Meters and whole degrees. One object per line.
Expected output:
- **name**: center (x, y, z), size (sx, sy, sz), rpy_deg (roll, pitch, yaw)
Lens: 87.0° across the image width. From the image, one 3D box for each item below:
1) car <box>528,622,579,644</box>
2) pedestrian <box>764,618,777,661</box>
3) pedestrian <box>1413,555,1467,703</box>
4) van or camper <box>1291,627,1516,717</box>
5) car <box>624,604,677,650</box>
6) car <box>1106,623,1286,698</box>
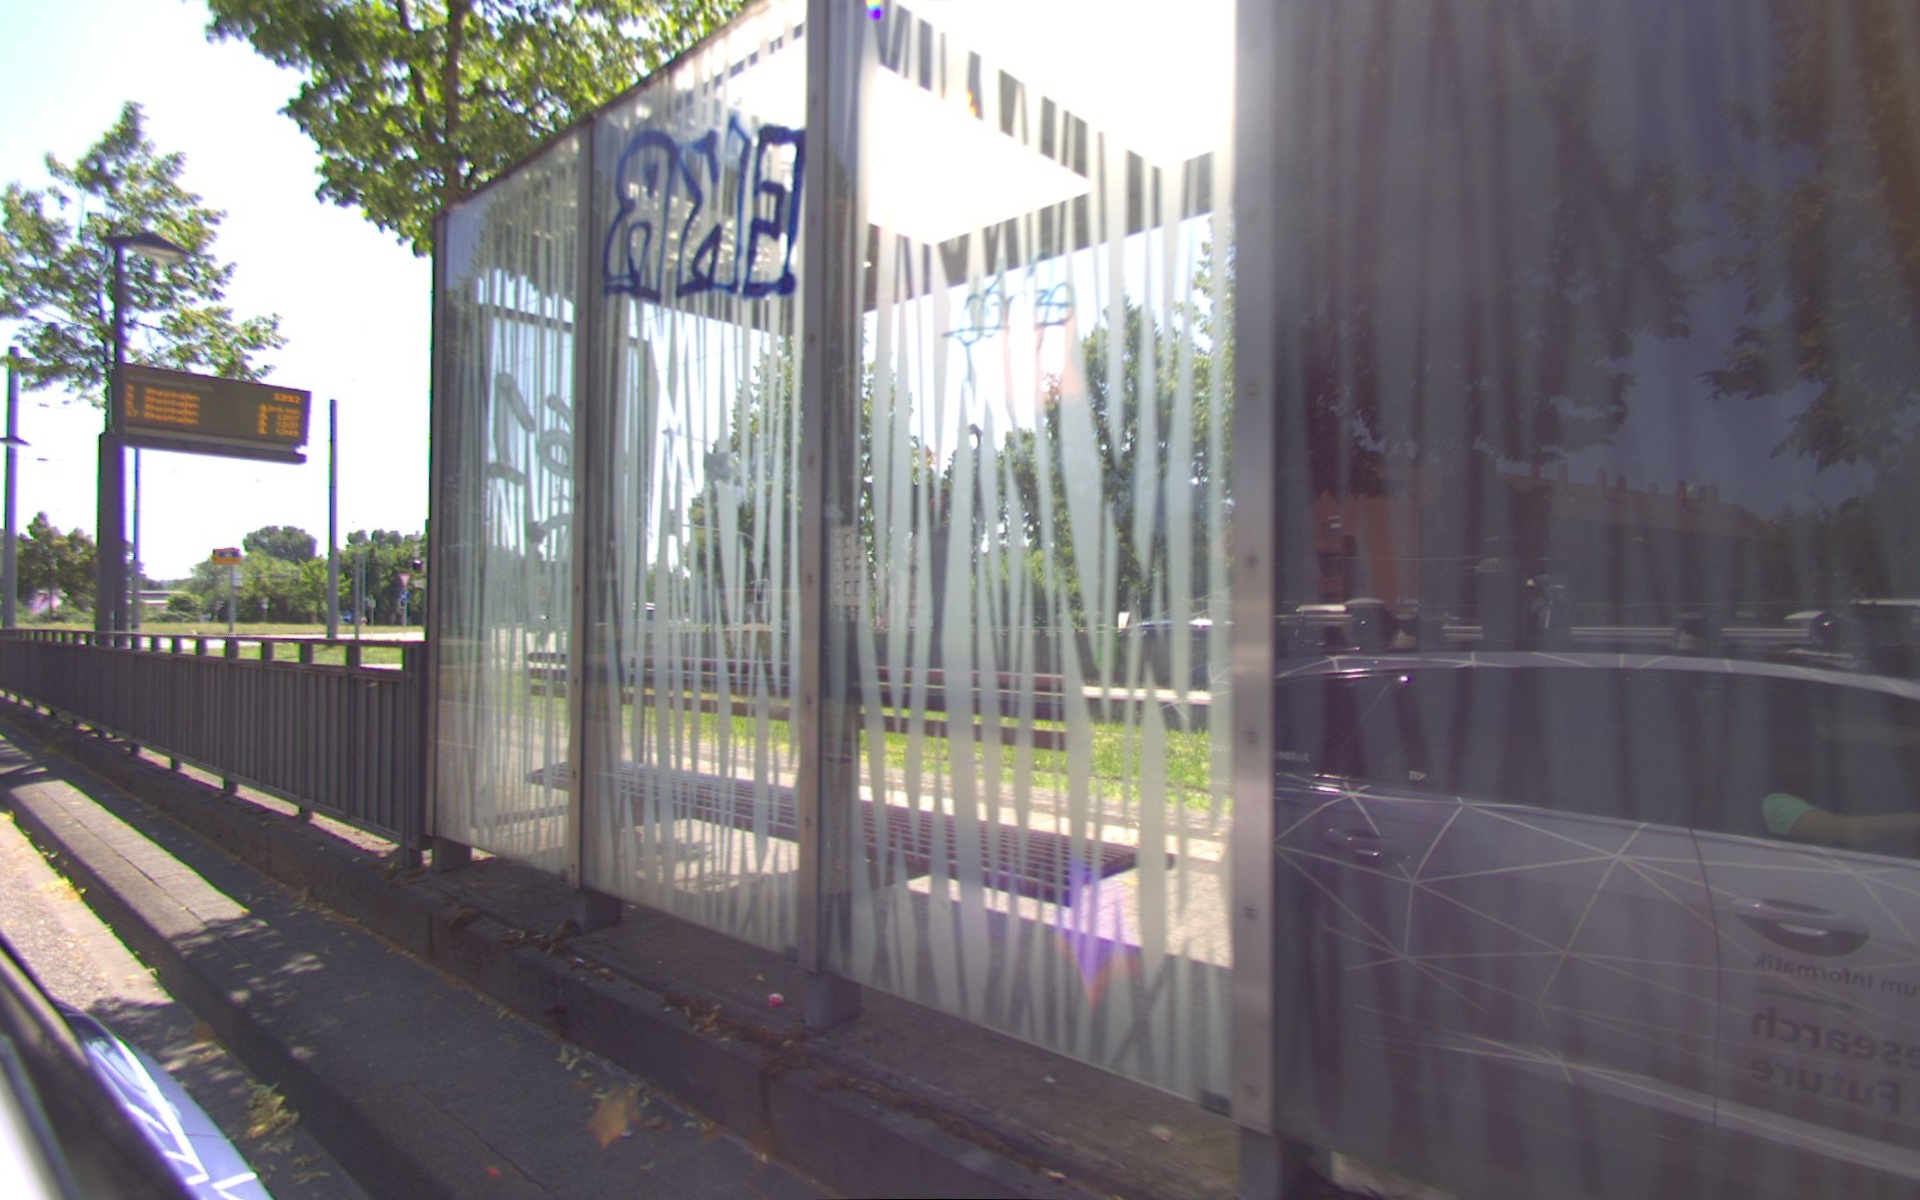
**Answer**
- **car**: center (-29.915, 2.405, 74.410), size (1.968, 1.529, 5.848), rpy_deg (0, -1, -38)
- **pedestrian**: center (-7.728, 1.611, 41.328), size (0.449, 1.752, 0.287), rpy_deg (-1, -2, 40)
- **pedestrian**: center (5.789, 0.345, 12.219), size (0.473, 1.752, 0.465), rpy_deg (0, -1, 12)
- **van or camper**: center (7.870, 1.214, 18.110), size (3.427, 1.438, 1.460), rpy_deg (-1, -2, 41)
- **car**: center (-15.773, 1.421, 51.833), size (1.967, 2.122, 5.554), rpy_deg (-2, -2, -11)
- **car**: center (5.599, 1.381, 24.290), size (3.960, 1.628, 1.554), rpy_deg (-1, -2, 42)
